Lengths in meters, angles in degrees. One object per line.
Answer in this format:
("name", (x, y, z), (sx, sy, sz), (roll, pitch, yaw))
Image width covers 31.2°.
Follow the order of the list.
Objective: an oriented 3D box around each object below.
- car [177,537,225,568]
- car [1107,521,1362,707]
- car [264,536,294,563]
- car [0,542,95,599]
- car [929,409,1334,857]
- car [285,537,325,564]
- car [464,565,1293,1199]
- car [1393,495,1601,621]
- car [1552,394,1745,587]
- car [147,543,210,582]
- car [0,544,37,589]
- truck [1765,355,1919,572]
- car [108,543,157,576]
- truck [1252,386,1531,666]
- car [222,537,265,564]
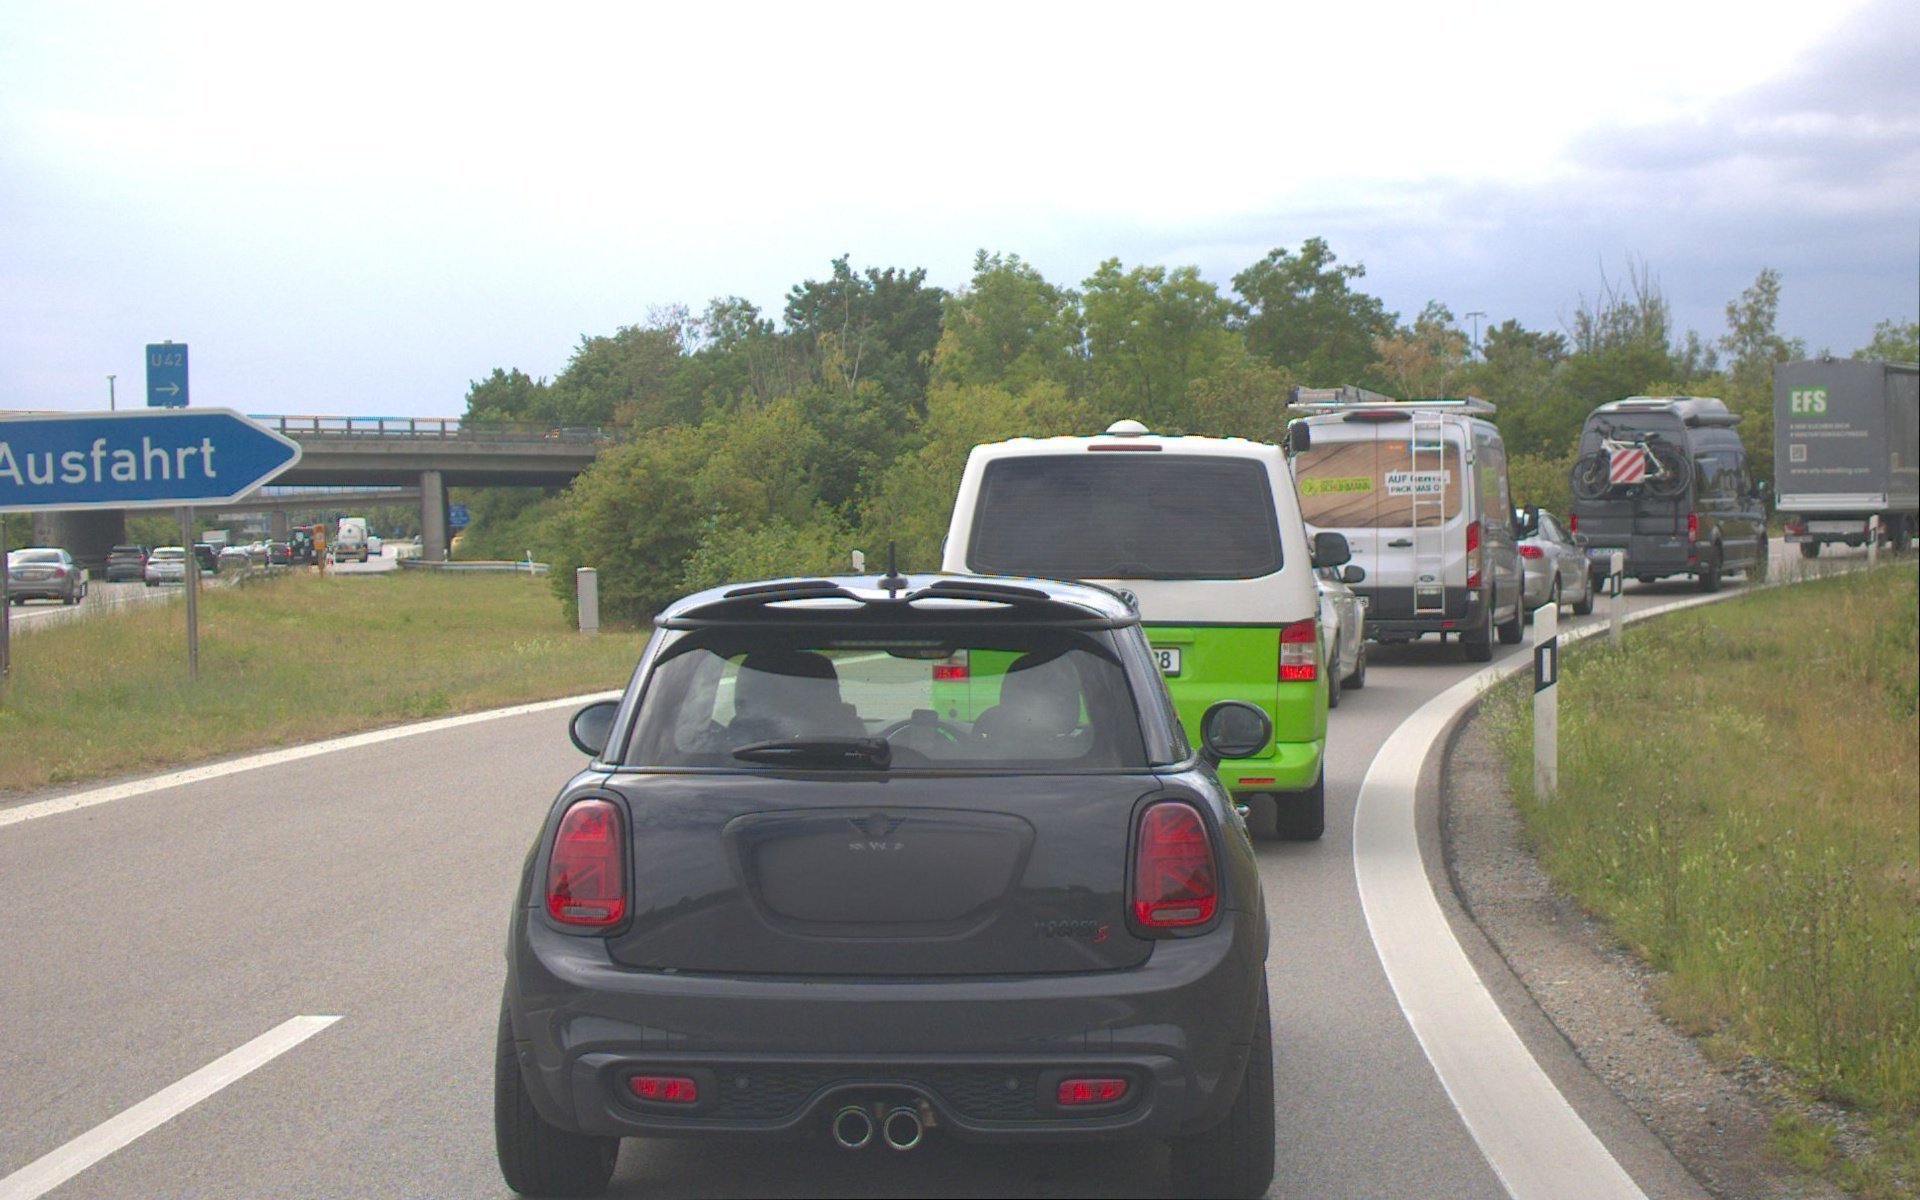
("car", (-41.676, -2.629, 188.877), (2.095, 1.665, 4.307), (-1, 1, -6))
("car", (2.285, 0.073, 27.859), (1.763, 1.394, 3.724), (-1, 1, 9))
("car", (-50.809, -3.754, 256.617), (2.068, 2.007, 4.001), (1, 0, -9))
("car", (-23.232, -0.774, 87.489), (1.779, 1.394, 4.552), (-1, 1, -7))
("car", (0.981, 0.103, 17.482), (1.784, 2.007, 3.999), (0, 1, 7))
("car", (-41.200, -3.150, 216.347), (2.095, 1.665, 4.307), (-1, 1, -6))
("car", (-0.169, 0.632, 9.033), (1.727, 1.409, 3.725), (0, 1, 0))
("car", (6.852, -0.548, 43.528), (1.868, 1.504, 3.996), (0, 1, 20))
("car", (10.429, -1.639, 51.886), (2.107, 2.786, 3.996), (1, 2, 22))
("car", (-28.898, -1.416, 127.232), (1.779, 1.394, 4.030), (-1, 1, -6))
("car", (-30.518, -1.061, 109.398), (1.779, 1.394, 4.307), (-1, 1, -9))
("truck", (17.381, -2.509, 65.536), (2.232, 3.893, 6.006), (1, 0, 30))
("car", (-35.862, -1.782, 149.063), (1.779, 1.394, 4.307), (-1, 1, -10))
("truck", (4.524, -0.783, 35.293), (2.180, 2.649, 5.106), (0, 2, 14))
("car", (-44.634, -3.080, 214.161), (2.159, 1.665, 4.307), (-1, 1, -6))
